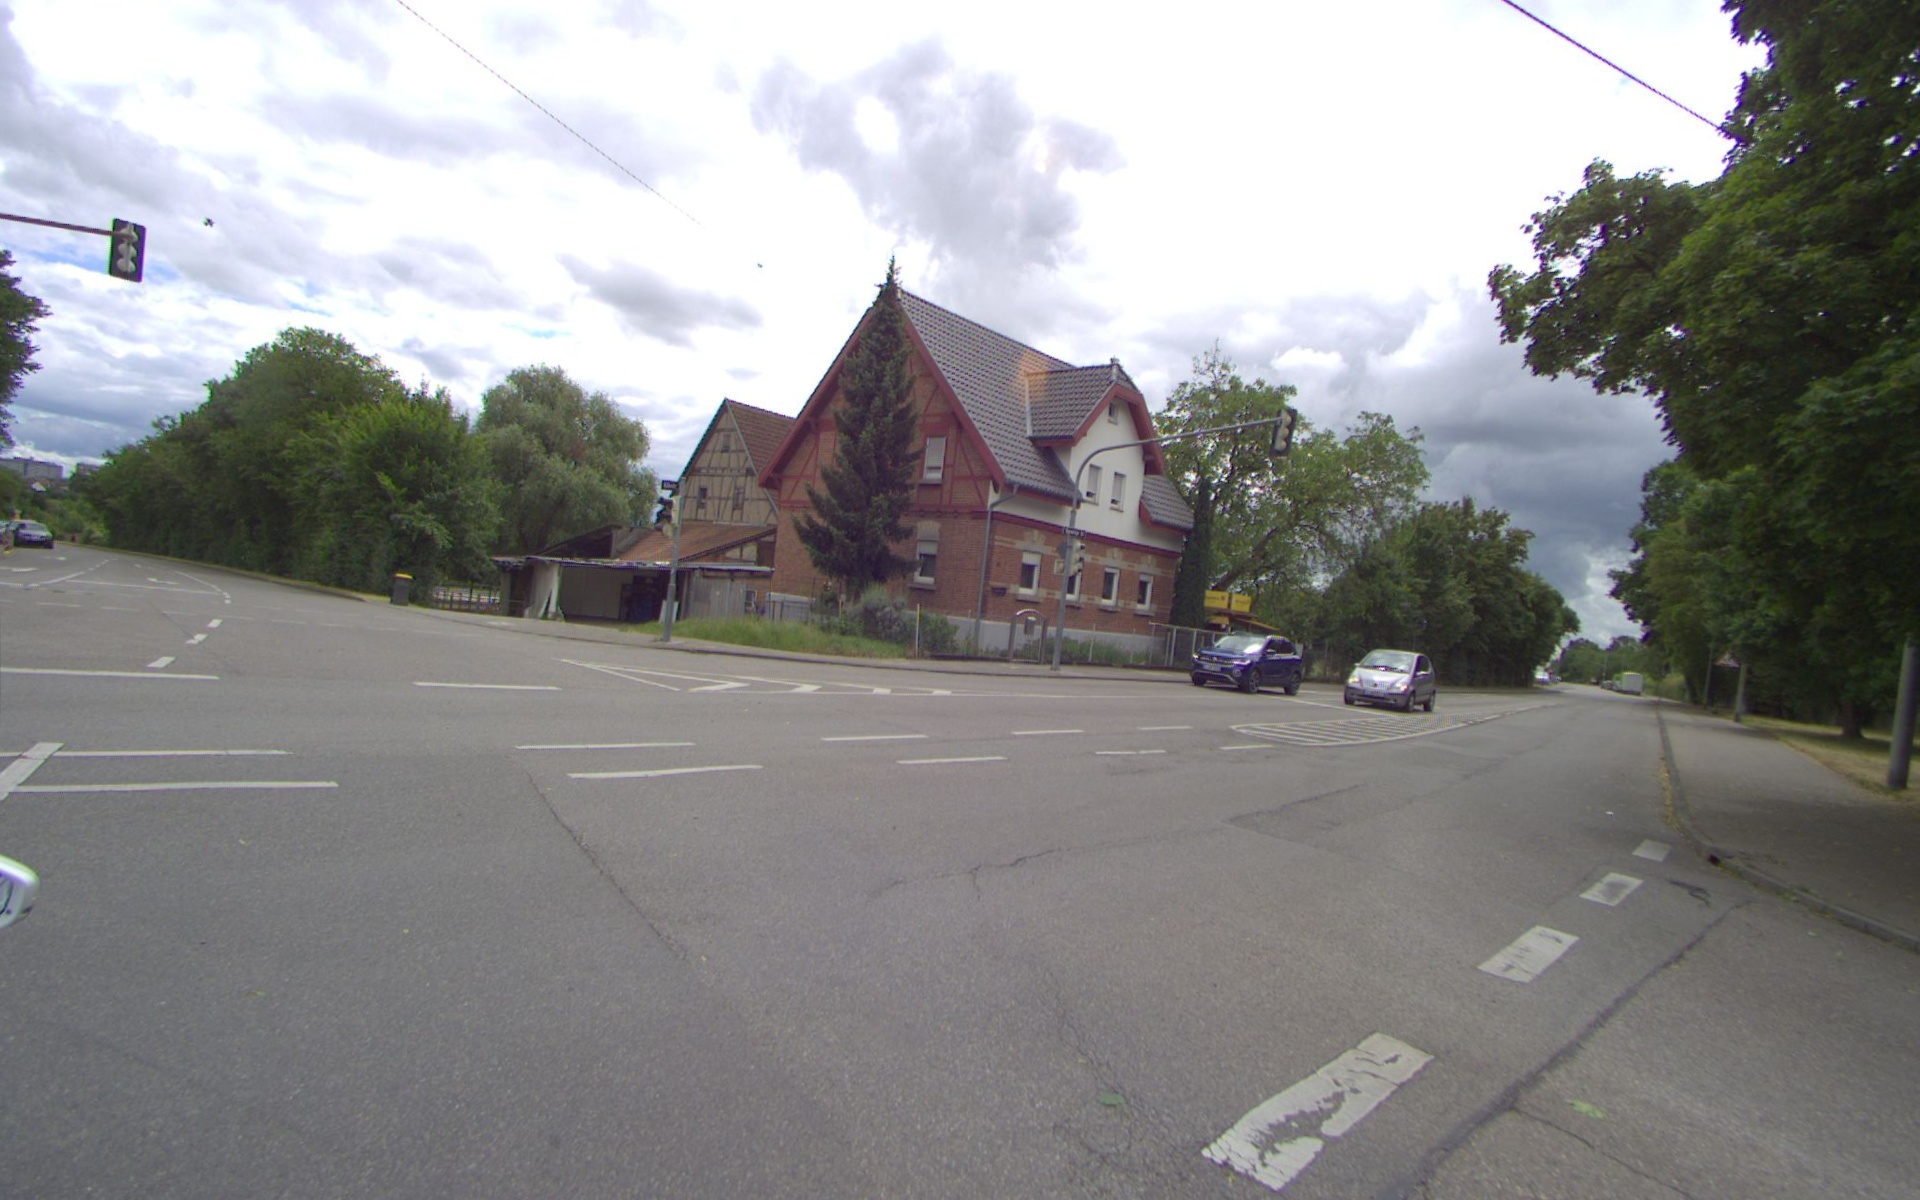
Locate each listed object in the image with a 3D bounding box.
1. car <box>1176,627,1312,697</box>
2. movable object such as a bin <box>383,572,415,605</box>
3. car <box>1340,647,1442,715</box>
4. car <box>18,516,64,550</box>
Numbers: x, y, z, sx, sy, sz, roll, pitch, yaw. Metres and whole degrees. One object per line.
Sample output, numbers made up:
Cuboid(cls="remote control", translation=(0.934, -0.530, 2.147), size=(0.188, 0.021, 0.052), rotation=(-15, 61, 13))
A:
Cuboid(cls="car", translation=(7.783, 1.722, 27.361), size=(1.901, 1.538, 3.980), rotation=(7, 1, 41))
Cuboid(cls="movable object such as a bin", translation=(-16.885, -0.334, 30.302), size=(0.583, 0.918, 0.601), rotation=(7, 1, -8))
Cuboid(cls="car", translation=(11.772, 2.193, 27.365), size=(1.753, 1.537, 3.546), rotation=(6, 0, 35))
Cuboid(cls="car", translation=(-57.968, -4.263, 63.471), size=(1.986, 1.772, 3.952), rotation=(6, 0, -42))
